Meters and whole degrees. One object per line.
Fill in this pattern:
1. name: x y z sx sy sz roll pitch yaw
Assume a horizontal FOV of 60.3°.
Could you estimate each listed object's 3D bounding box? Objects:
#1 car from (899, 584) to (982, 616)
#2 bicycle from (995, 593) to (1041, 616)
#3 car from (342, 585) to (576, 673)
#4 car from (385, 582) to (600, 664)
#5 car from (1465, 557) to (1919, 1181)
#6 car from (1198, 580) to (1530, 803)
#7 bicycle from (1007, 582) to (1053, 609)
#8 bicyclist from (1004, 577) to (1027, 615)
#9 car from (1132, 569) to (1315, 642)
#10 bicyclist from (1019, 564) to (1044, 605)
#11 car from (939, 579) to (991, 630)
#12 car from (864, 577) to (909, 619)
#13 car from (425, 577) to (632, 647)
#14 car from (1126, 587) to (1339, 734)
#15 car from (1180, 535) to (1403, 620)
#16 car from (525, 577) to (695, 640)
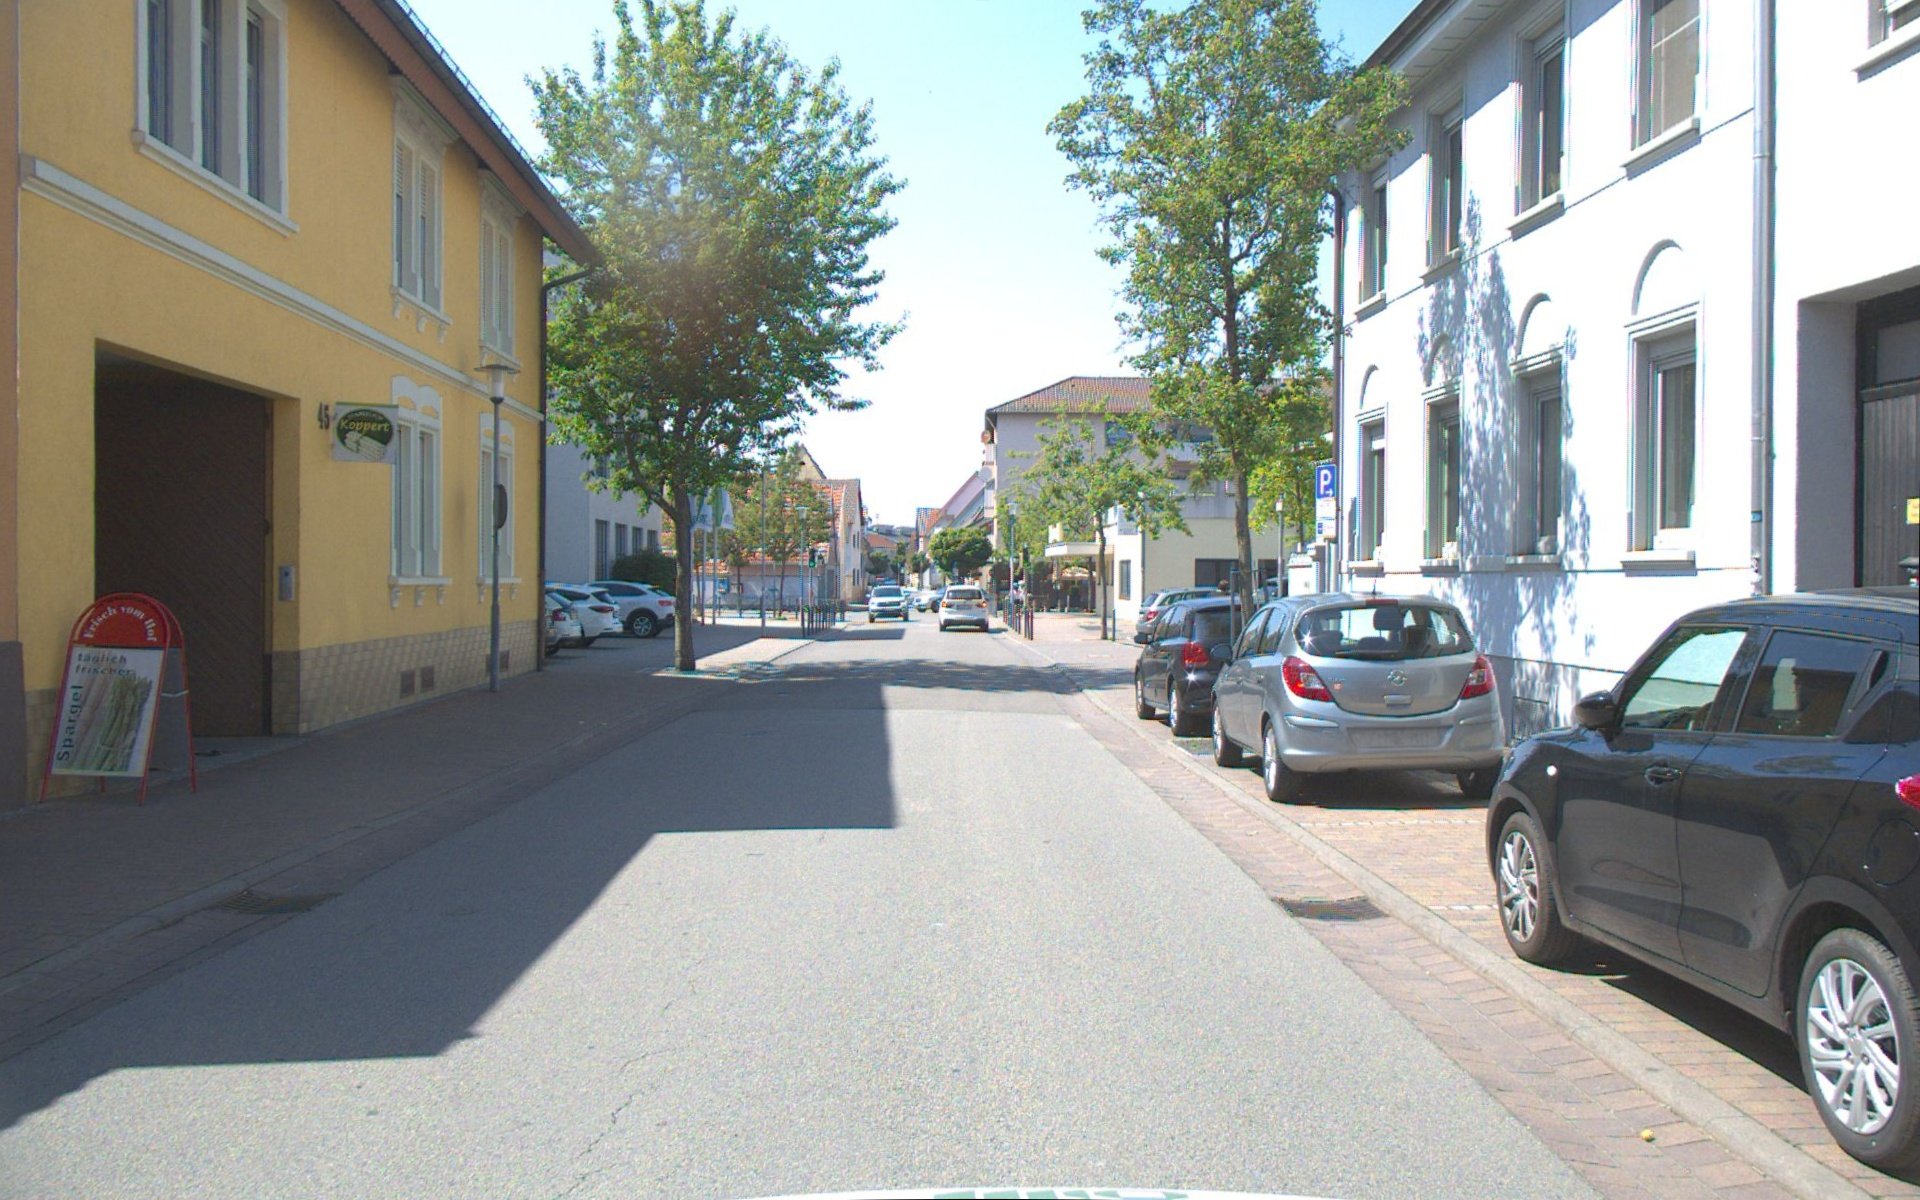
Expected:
1. car: -1.052 -0.027 91.639 4.398 1.489 1.858 -5 3 -41
2. bicycle: 2.480 0.189 70.749 1.867 0.974 0.670 -1 0 -28
3. car: -9.511 0.526 31.698 3.910 1.456 1.971 -2 2 -5
4. car: -9.601 0.453 34.197 3.908 1.476 1.807 -2 2 -3
5. car: 3.199 0.638 5.635 1.702 1.539 3.734 -2 1 -1
6. car: 3.055 0.602 13.352 1.682 1.507 4.096 -1 1 0
7. bicycle: 3.043 -0.206 72.118 1.870 0.974 0.669 -6 3 -29
8. bicyclist: 2.380 -0.182 70.689 0.750 1.609 0.665 -1 0 -27
9. car: 7.137 0.123 45.082 4.490 1.538 1.914 -5 2 -7
10. bicyclist: 3.132 -0.668 72.166 0.751 1.692 0.665 -6 2 -28
11. car: 0.160 0.139 60.112 1.796 1.680 4.000 -1 2 0
12. car: -3.200 -0.104 72.720 1.814 1.600 4.000 -3 2 -1
13. car: -10.167 0.260 39.232 4.412 1.581 1.935 0 1 -2
14. car: 2.997 0.612 18.953 1.669 1.507 3.920 0 0 -2
15. car: 7.337 -0.512 36.808 4.451 1.465 1.837 -5 2 -7
16. car: -10.009 0.227 47.611 4.416 1.581 2.147 -2 2 -3
